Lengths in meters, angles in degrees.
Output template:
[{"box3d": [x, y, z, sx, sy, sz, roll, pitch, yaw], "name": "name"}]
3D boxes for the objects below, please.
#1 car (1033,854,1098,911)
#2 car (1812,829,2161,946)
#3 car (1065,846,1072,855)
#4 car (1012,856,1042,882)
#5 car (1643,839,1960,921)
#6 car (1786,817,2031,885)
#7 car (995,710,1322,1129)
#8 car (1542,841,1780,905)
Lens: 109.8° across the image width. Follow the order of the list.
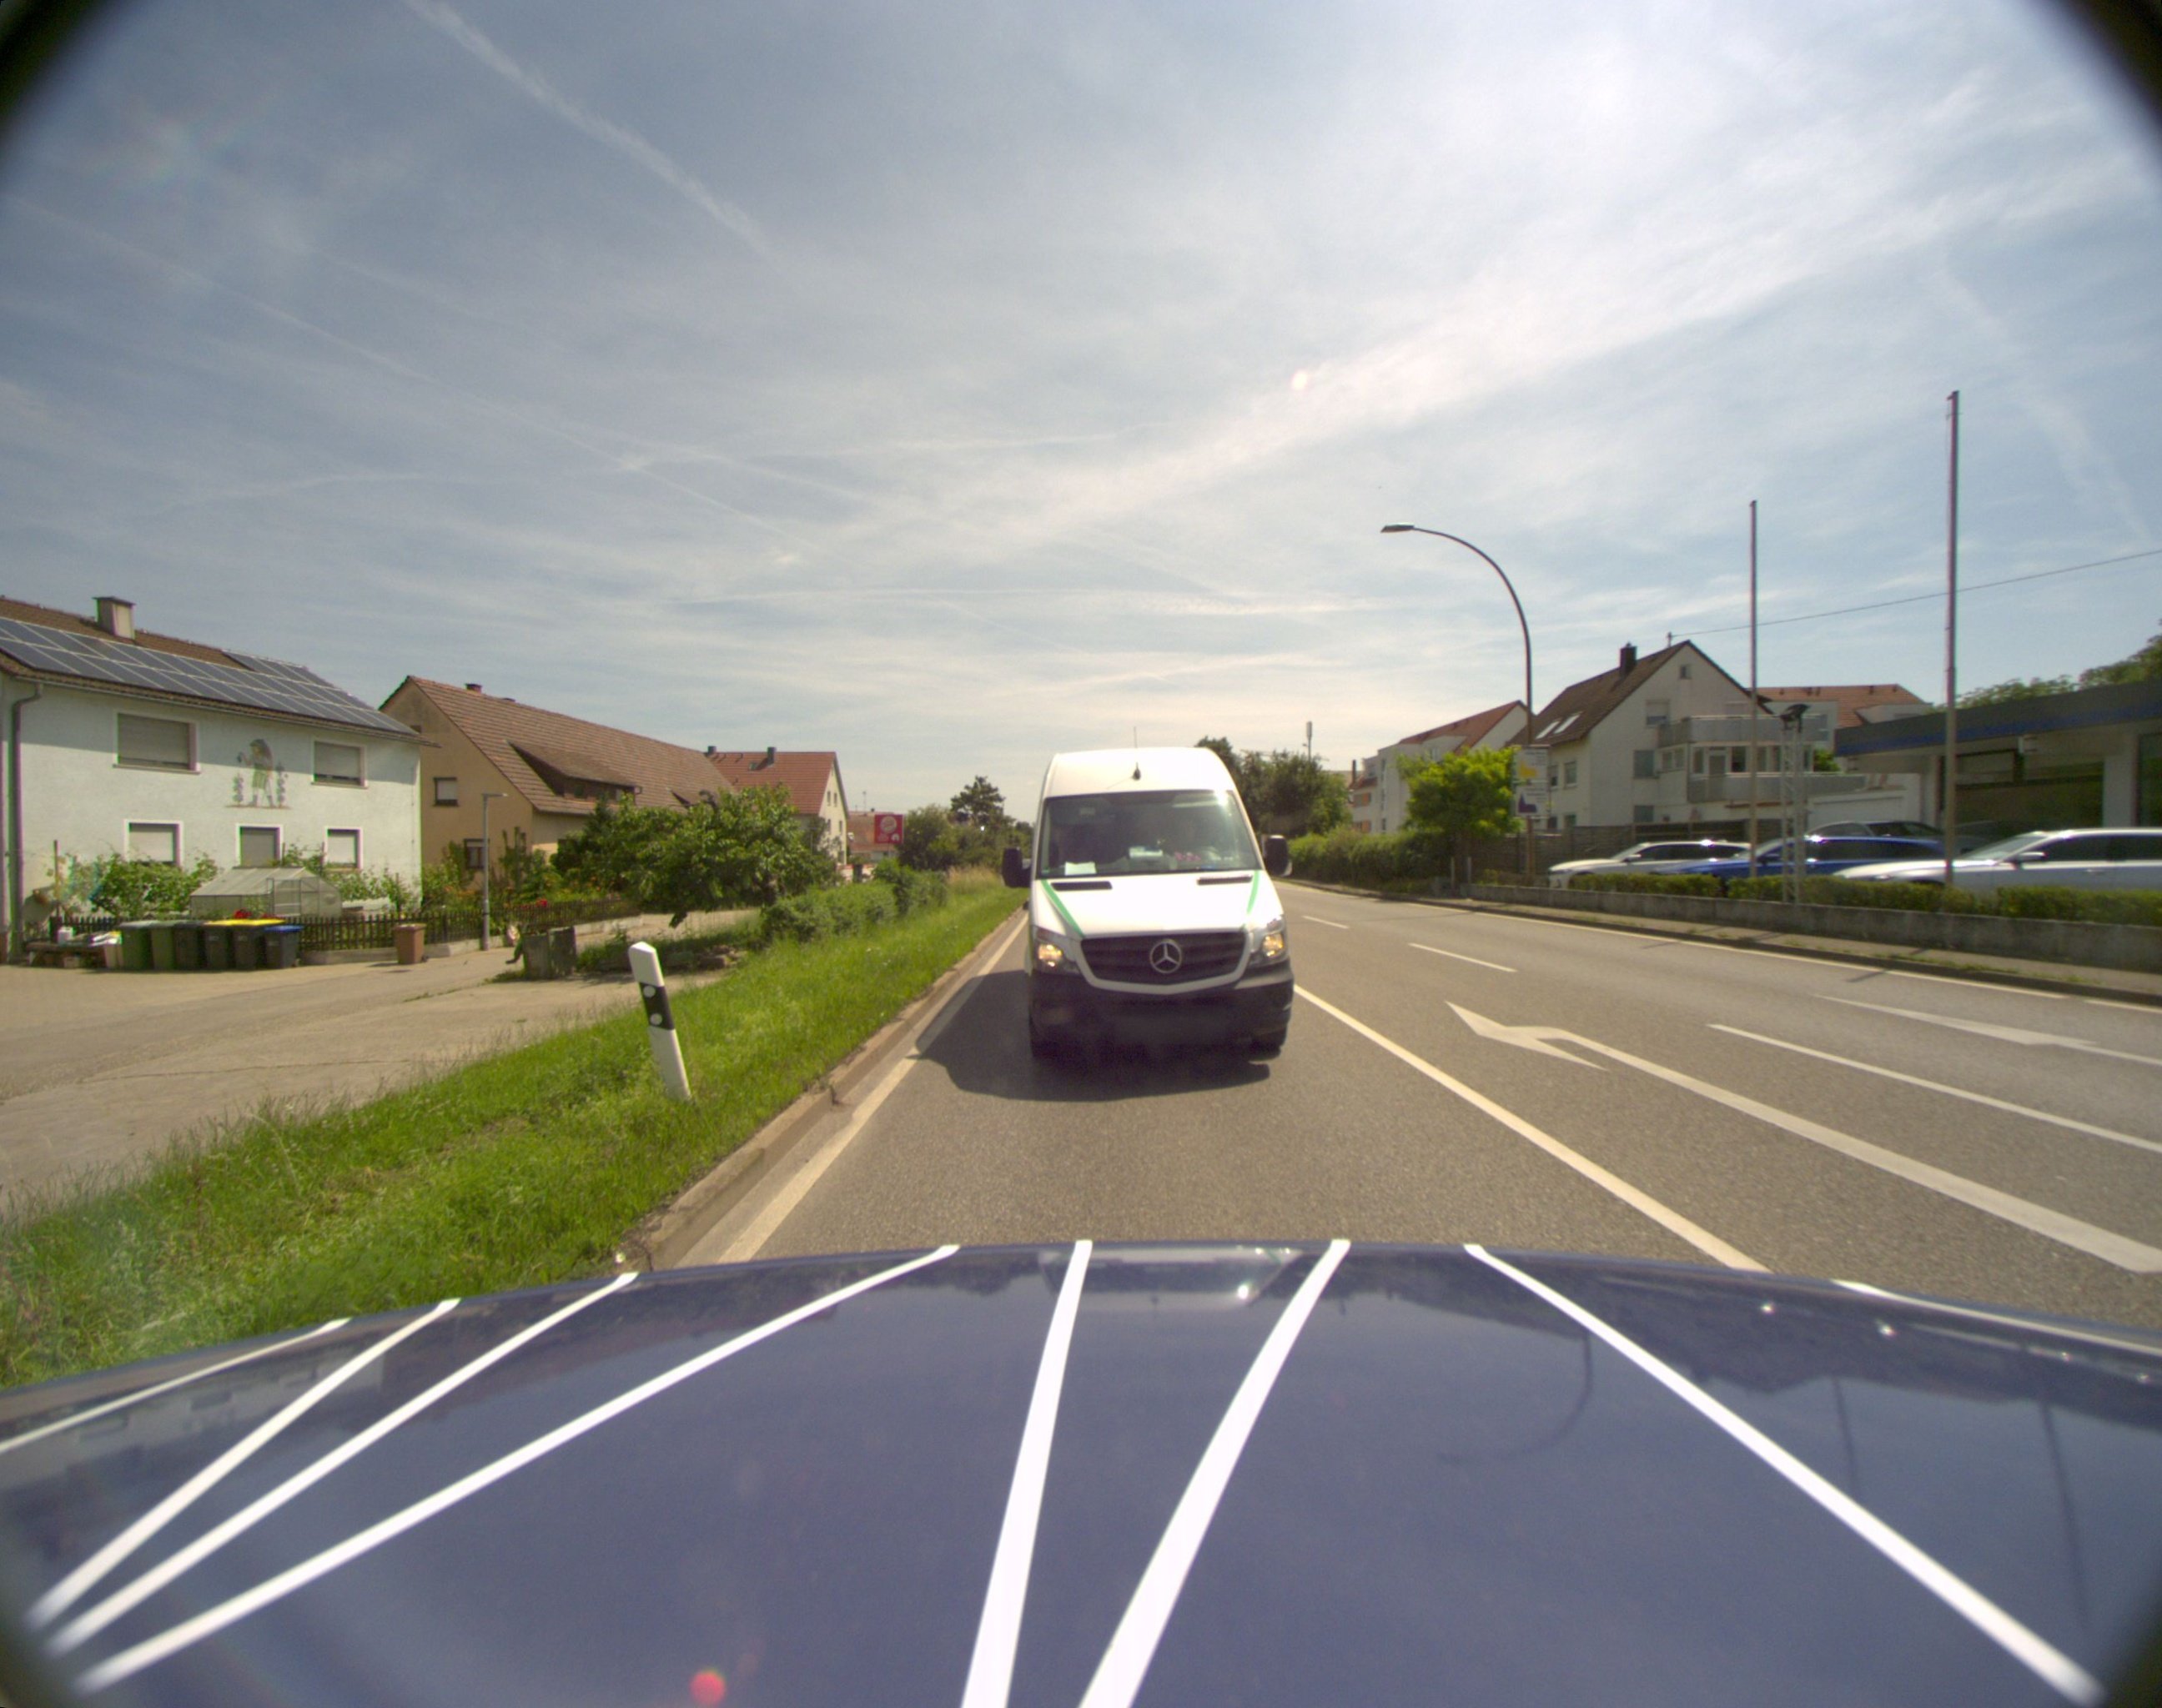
[{"box3d": [-0.486, 0.861, 25.230, 1.884, 1.652, 4.625, -2, 0, 0], "name": "car"}, {"box3d": [14.083, 0.493, 11.125, 4.505, 1.439, 1.860, -4, 0, 30], "name": "car"}, {"box3d": [-3.737, -1.150, 231.725, 1.998, 2.573, 3.999, -2, 1, 0], "name": "car"}, {"box3d": [-3.399, 0.925, 48.318, 1.636, 1.476, 3.551, -4, 1, -1], "name": "car"}, {"box3d": [14.256, 0.508, 15.437, 4.331, 1.439, 1.860, -2, 1, 29], "name": "car"}, {"box3d": [20.810, -0.080, 19.468, 1.807, 1.456, 4.585, -2, 0, 10], "name": "car"}, {"box3d": [0.471, 0.400, 7.518, 1.939, 2.514, 5.748, -2, 0, 0], "name": "car"}, {"box3d": [14.466, 0.487, 19.346, 4.568, 1.439, 1.860, -2, 1, 29], "name": "car"}]
